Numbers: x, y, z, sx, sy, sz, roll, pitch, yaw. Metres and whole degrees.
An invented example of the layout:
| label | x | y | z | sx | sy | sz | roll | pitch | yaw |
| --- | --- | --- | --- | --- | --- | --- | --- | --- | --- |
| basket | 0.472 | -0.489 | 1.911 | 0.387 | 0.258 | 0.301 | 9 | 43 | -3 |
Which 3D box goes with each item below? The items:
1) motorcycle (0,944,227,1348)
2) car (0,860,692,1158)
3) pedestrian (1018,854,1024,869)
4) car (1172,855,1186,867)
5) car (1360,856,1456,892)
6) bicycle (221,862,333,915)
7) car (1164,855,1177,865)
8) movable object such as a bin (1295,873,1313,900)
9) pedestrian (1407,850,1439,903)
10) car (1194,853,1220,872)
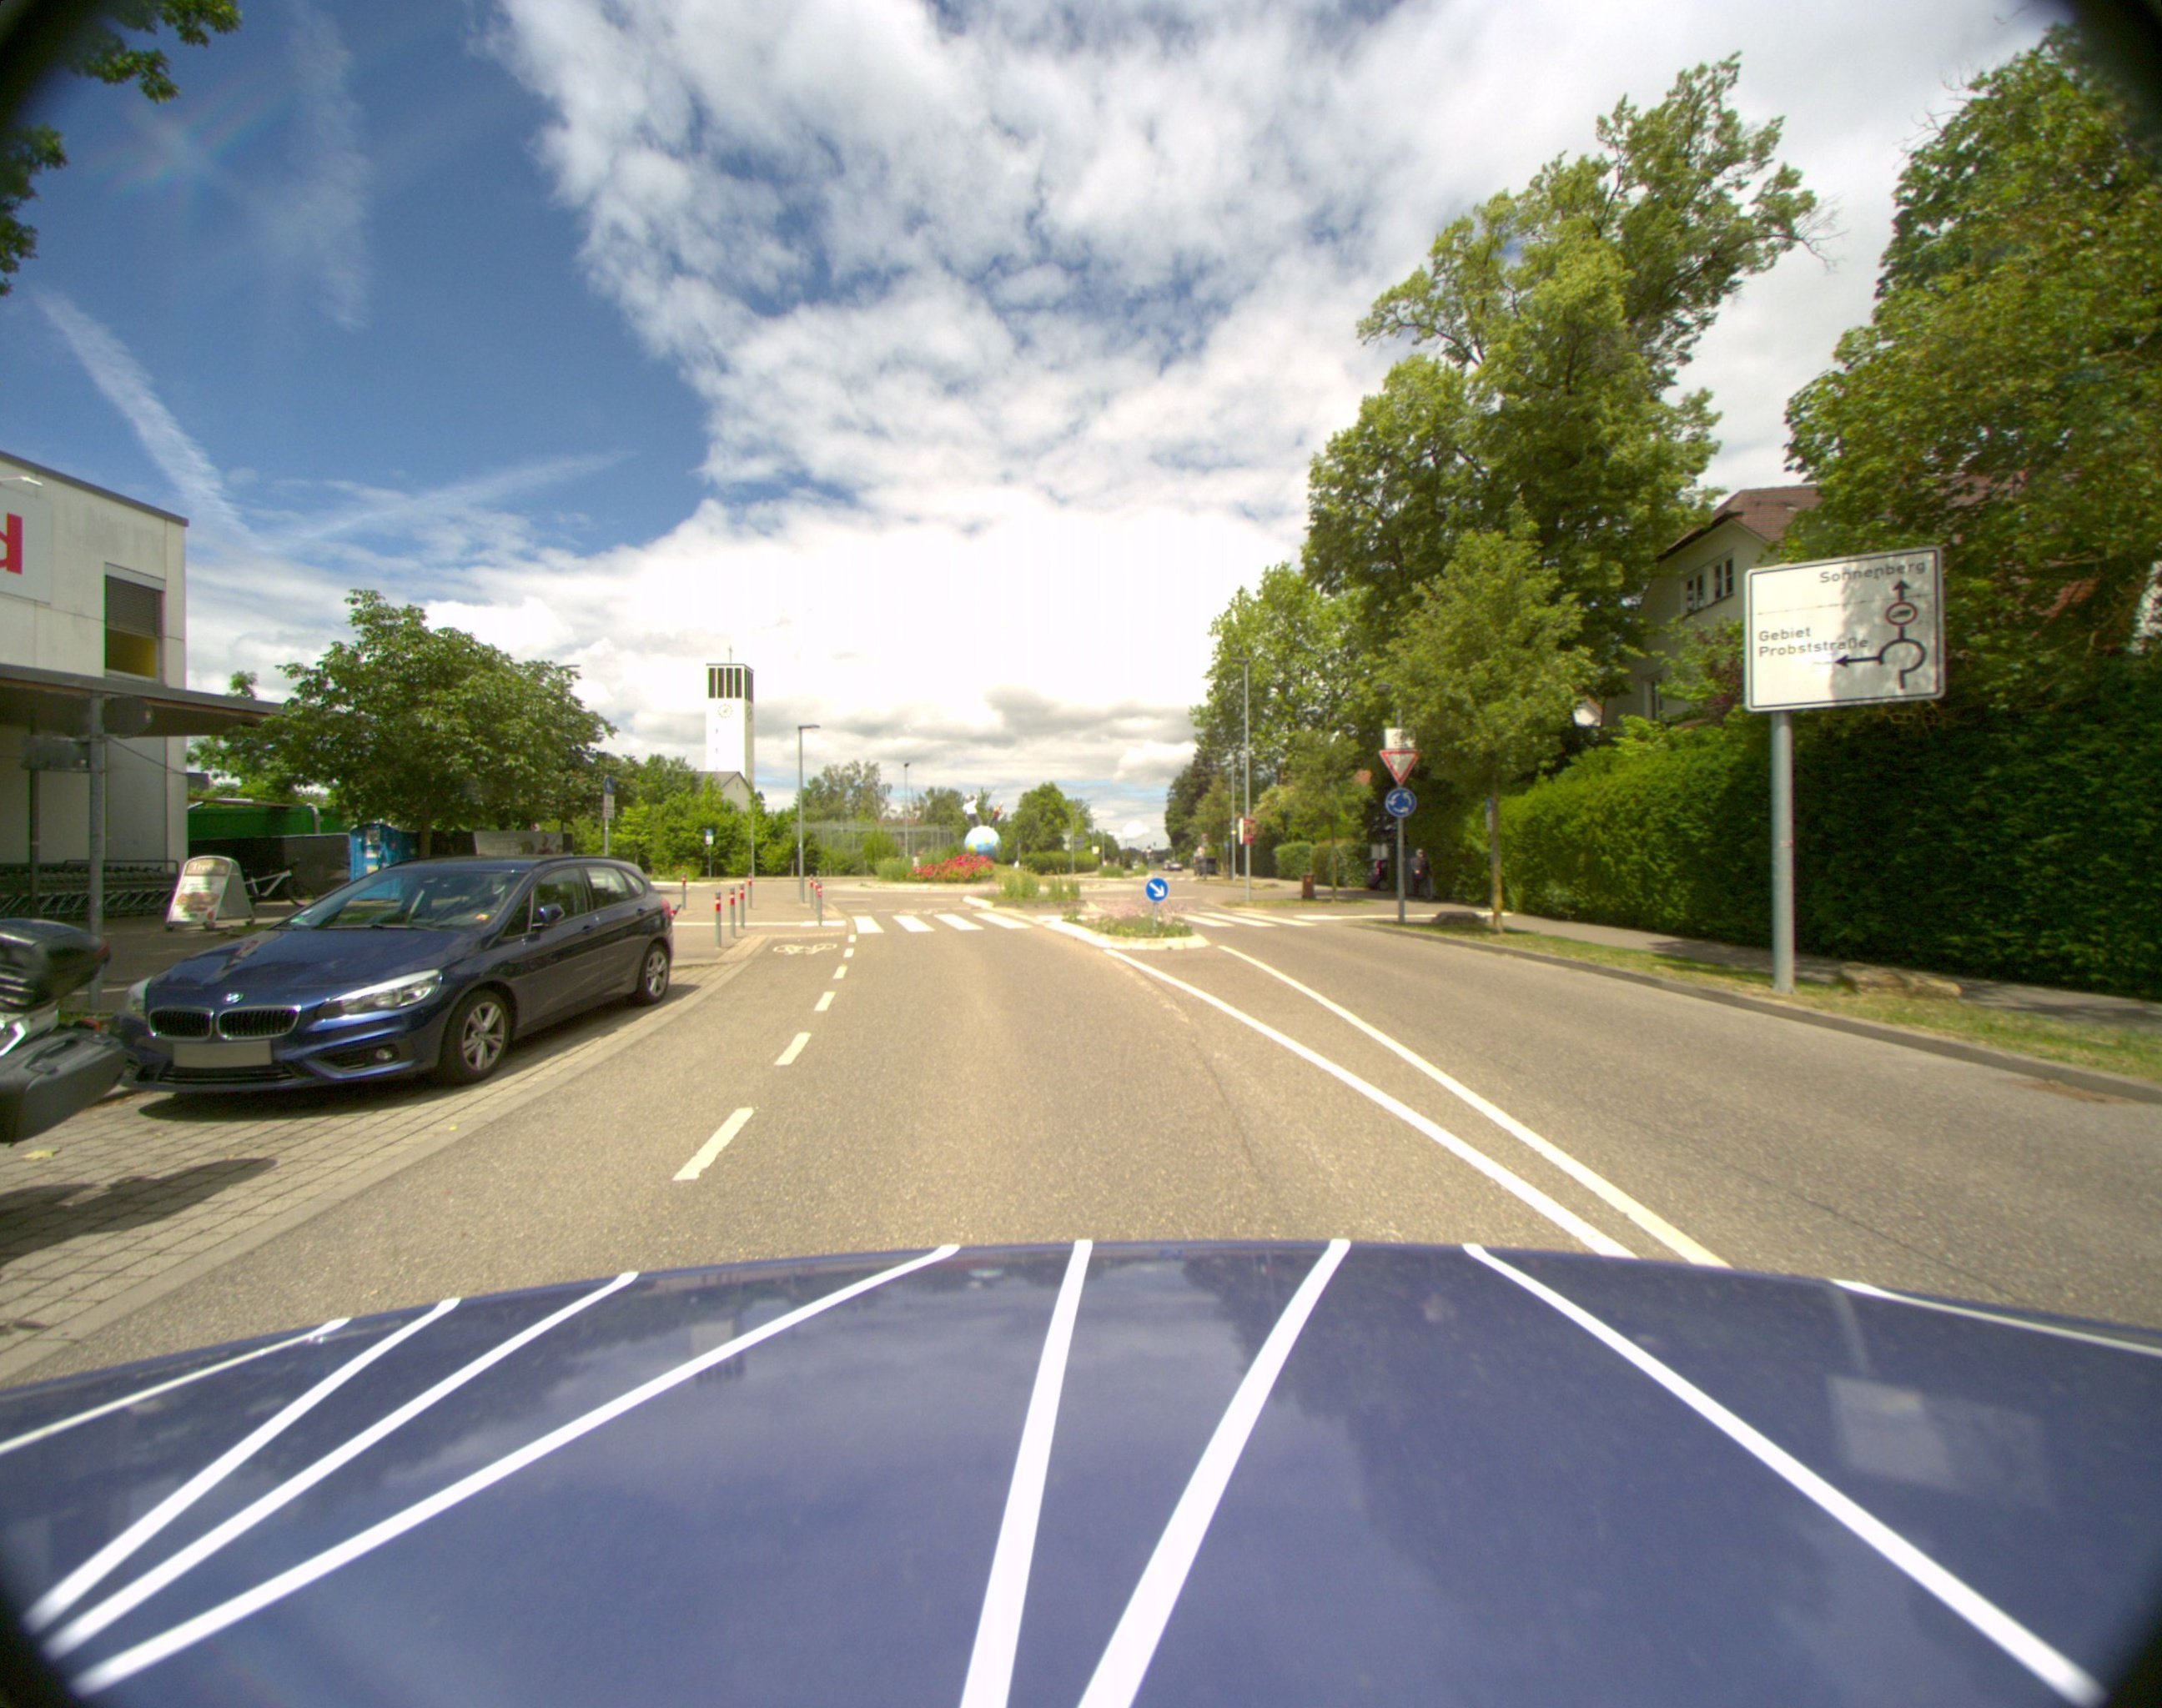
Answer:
| label | x | y | z | sx | sy | sz | roll | pitch | yaw |
| --- | --- | --- | --- | --- | --- | --- | --- | --- | --- |
| motorcycle | -4.244 | 1.057 | 2.205 | 1.074 | 1.298 | 2.259 | 2 | 0 | -5 |
| car | -5.214 | 0.878 | 6.473 | 1.922 | 1.569 | 4.427 | 1 | 0 | -6 |
| pedestrian | -6.965 | 0.895 | 88.260 | 0.608 | 1.687 | 0.566 | -1 | 1 | -10 |
| car | 13.909 | 0.991 | 107.743 | 1.861 | 1.568 | 4.001 | -1 | 1 | 5 |
| car | 14.693 | 0.872 | 34.240 | 3.574 | 1.389 | 1.666 | 2 | 1 | 5 |
| bicycle | -20.143 | 0.841 | 19.090 | 1.775 | 1.227 | 0.713 | -2 | 1 | -29 |
| car | 16.347 | 1.089 | 138.779 | 1.998 | 1.696 | 4.000 | 1 | 0 | 0 |
| movable object such as a bin | 7.989 | 1.149 | 27.174 | 0.442 | 0.929 | 0.411 | 0 | 1 | -24 |
| pedestrian | 11.091 | 0.705 | 24.660 | 0.745 | 1.681 | 0.695 | -1 | 1 | 6 |
| car | 11.380 | 0.779 | 68.717 | 1.680 | 1.652 | 4.000 | 0 | 1 | 0 |
